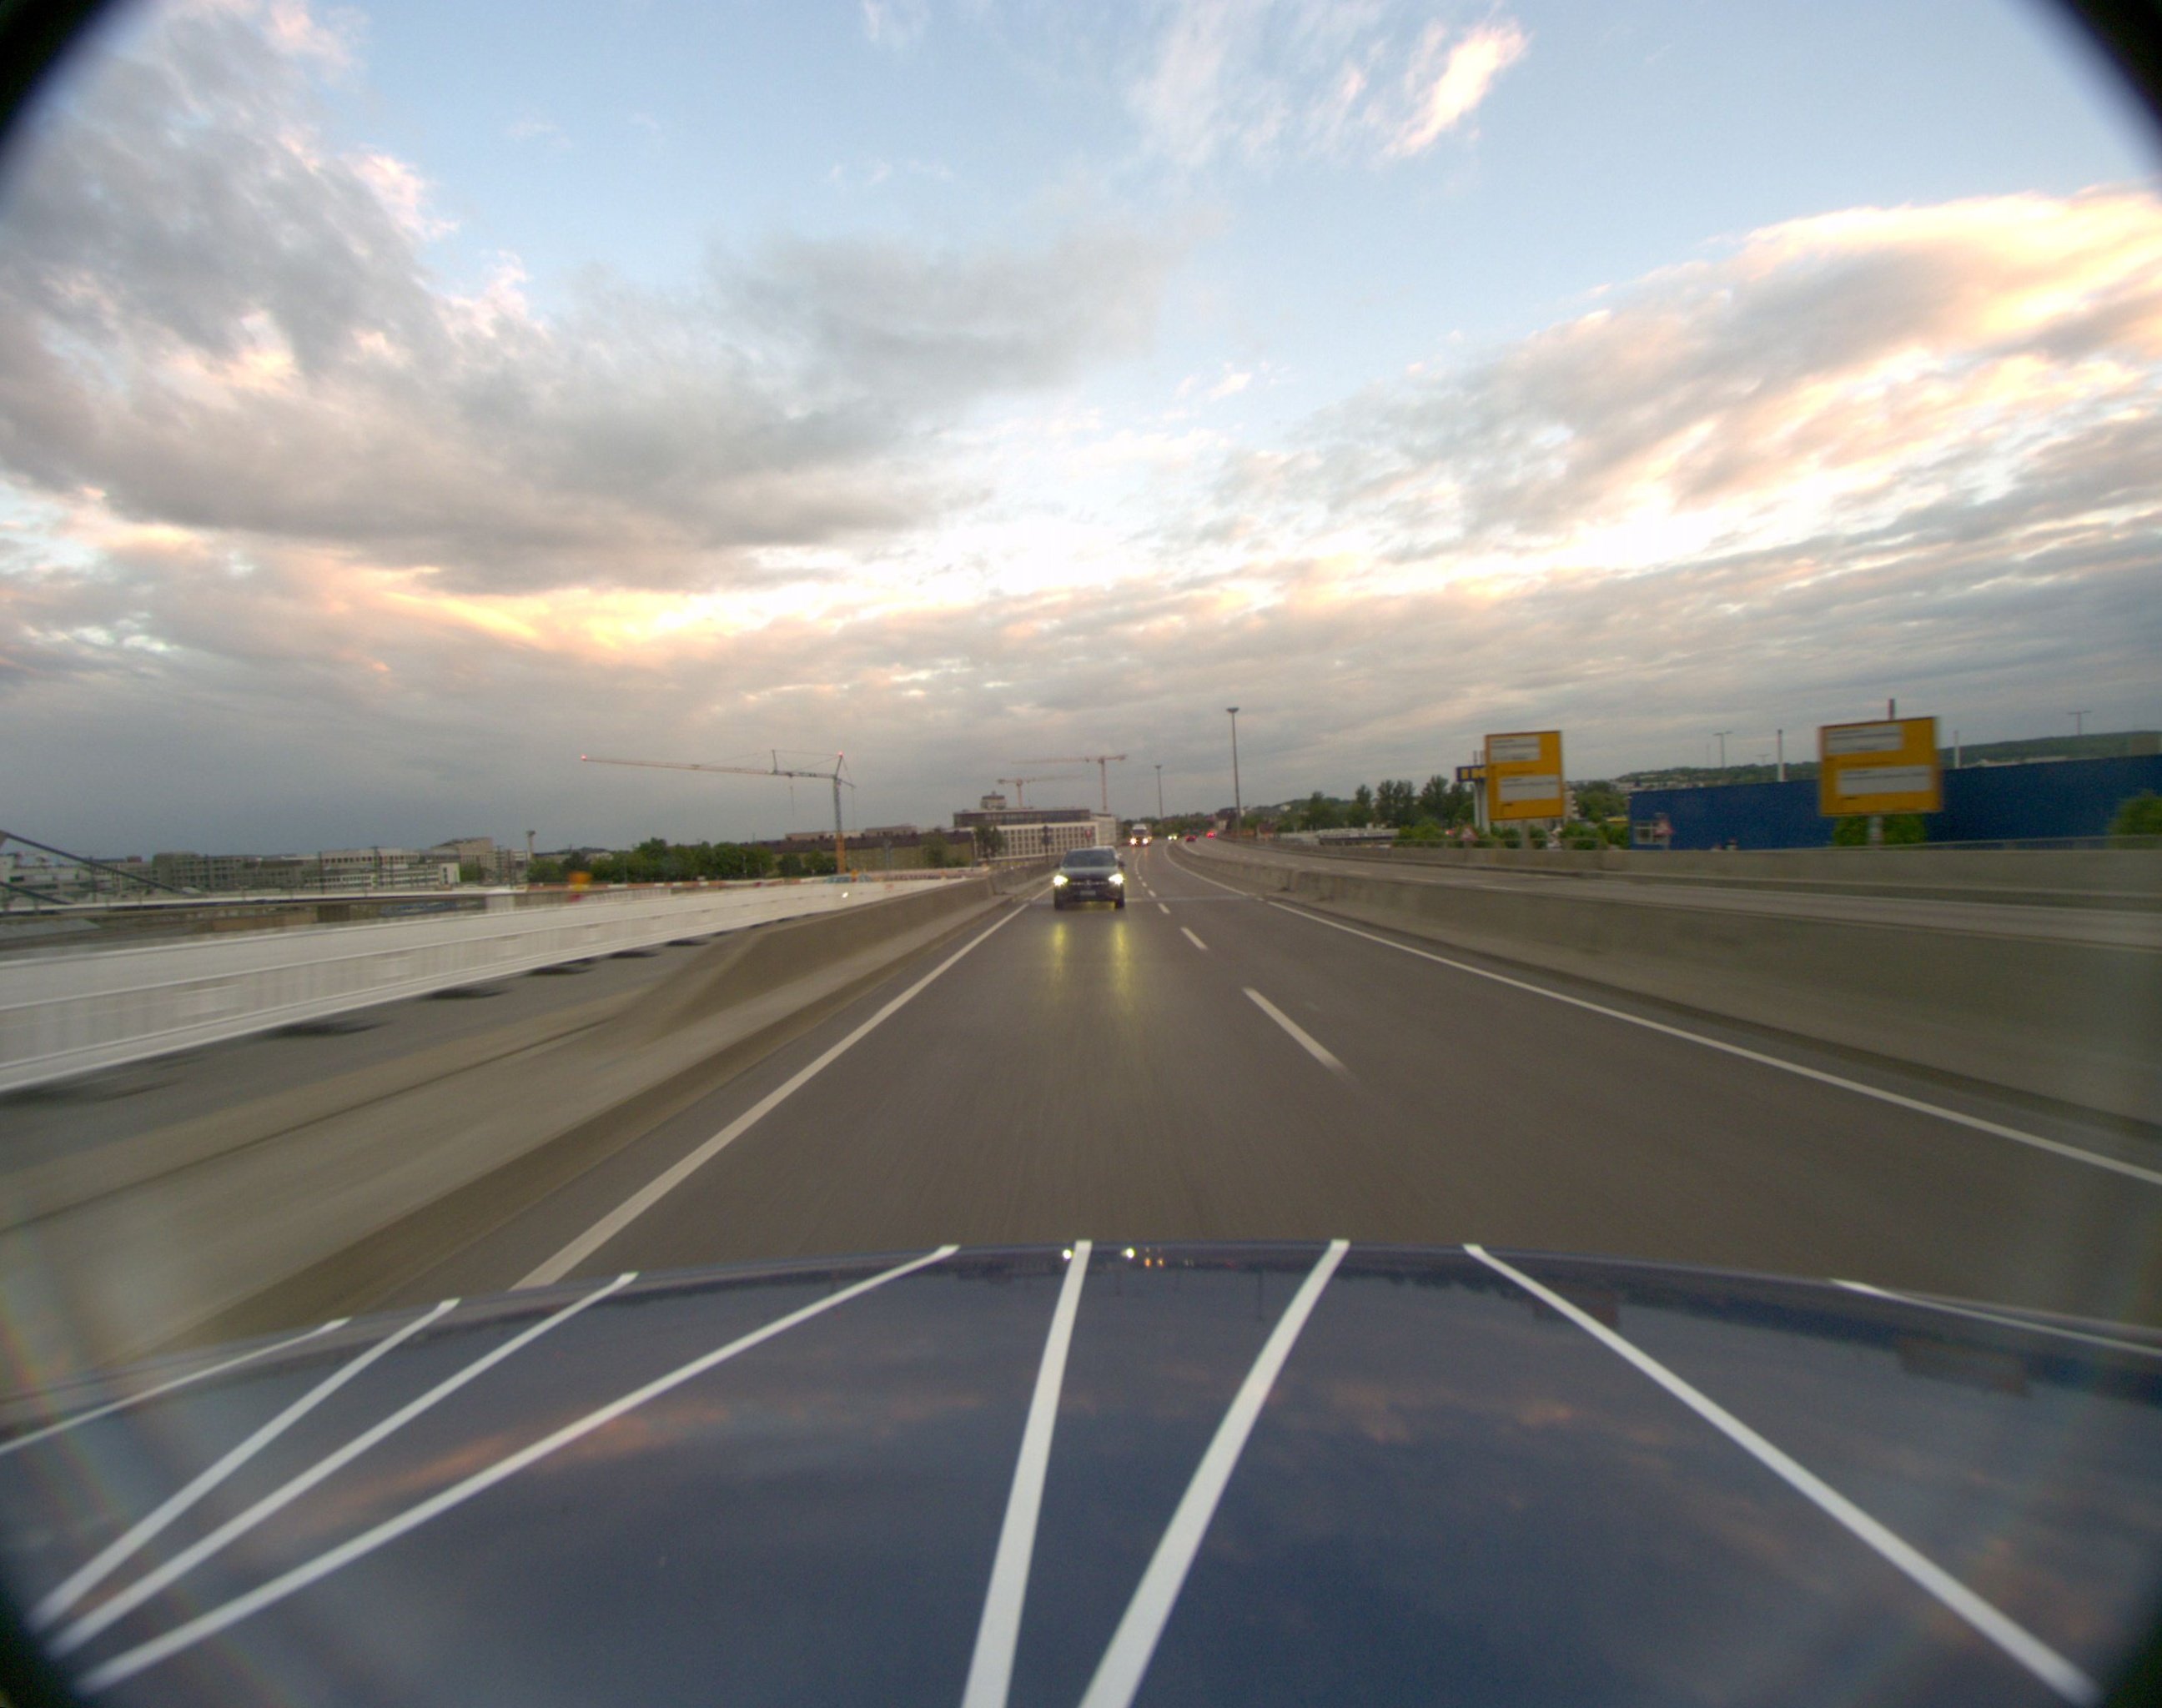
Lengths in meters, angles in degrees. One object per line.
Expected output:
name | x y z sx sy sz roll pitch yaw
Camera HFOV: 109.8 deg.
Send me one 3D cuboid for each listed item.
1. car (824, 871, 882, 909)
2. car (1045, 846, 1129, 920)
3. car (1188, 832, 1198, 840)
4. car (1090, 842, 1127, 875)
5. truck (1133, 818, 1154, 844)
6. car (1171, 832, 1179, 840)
car | -10.464 1.600 35.147 1.755 1.482 3.998 -2 0 -6
car | 0.270 0.649 19.571 1.823 1.603 4.213 -1 2 5
car | 22.068 -3.530 149.405 1.833 1.472 4.288 -2 2 7
car | 1.464 0.222 41.822 1.891 1.642 4.343 -2 0 1
truck | 11.282 -4.223 136.725 3.164 4.370 8.795 -2 2 8
car | 25.820 -4.910 208.526 1.997 2.002 4.001 -2 2 8
